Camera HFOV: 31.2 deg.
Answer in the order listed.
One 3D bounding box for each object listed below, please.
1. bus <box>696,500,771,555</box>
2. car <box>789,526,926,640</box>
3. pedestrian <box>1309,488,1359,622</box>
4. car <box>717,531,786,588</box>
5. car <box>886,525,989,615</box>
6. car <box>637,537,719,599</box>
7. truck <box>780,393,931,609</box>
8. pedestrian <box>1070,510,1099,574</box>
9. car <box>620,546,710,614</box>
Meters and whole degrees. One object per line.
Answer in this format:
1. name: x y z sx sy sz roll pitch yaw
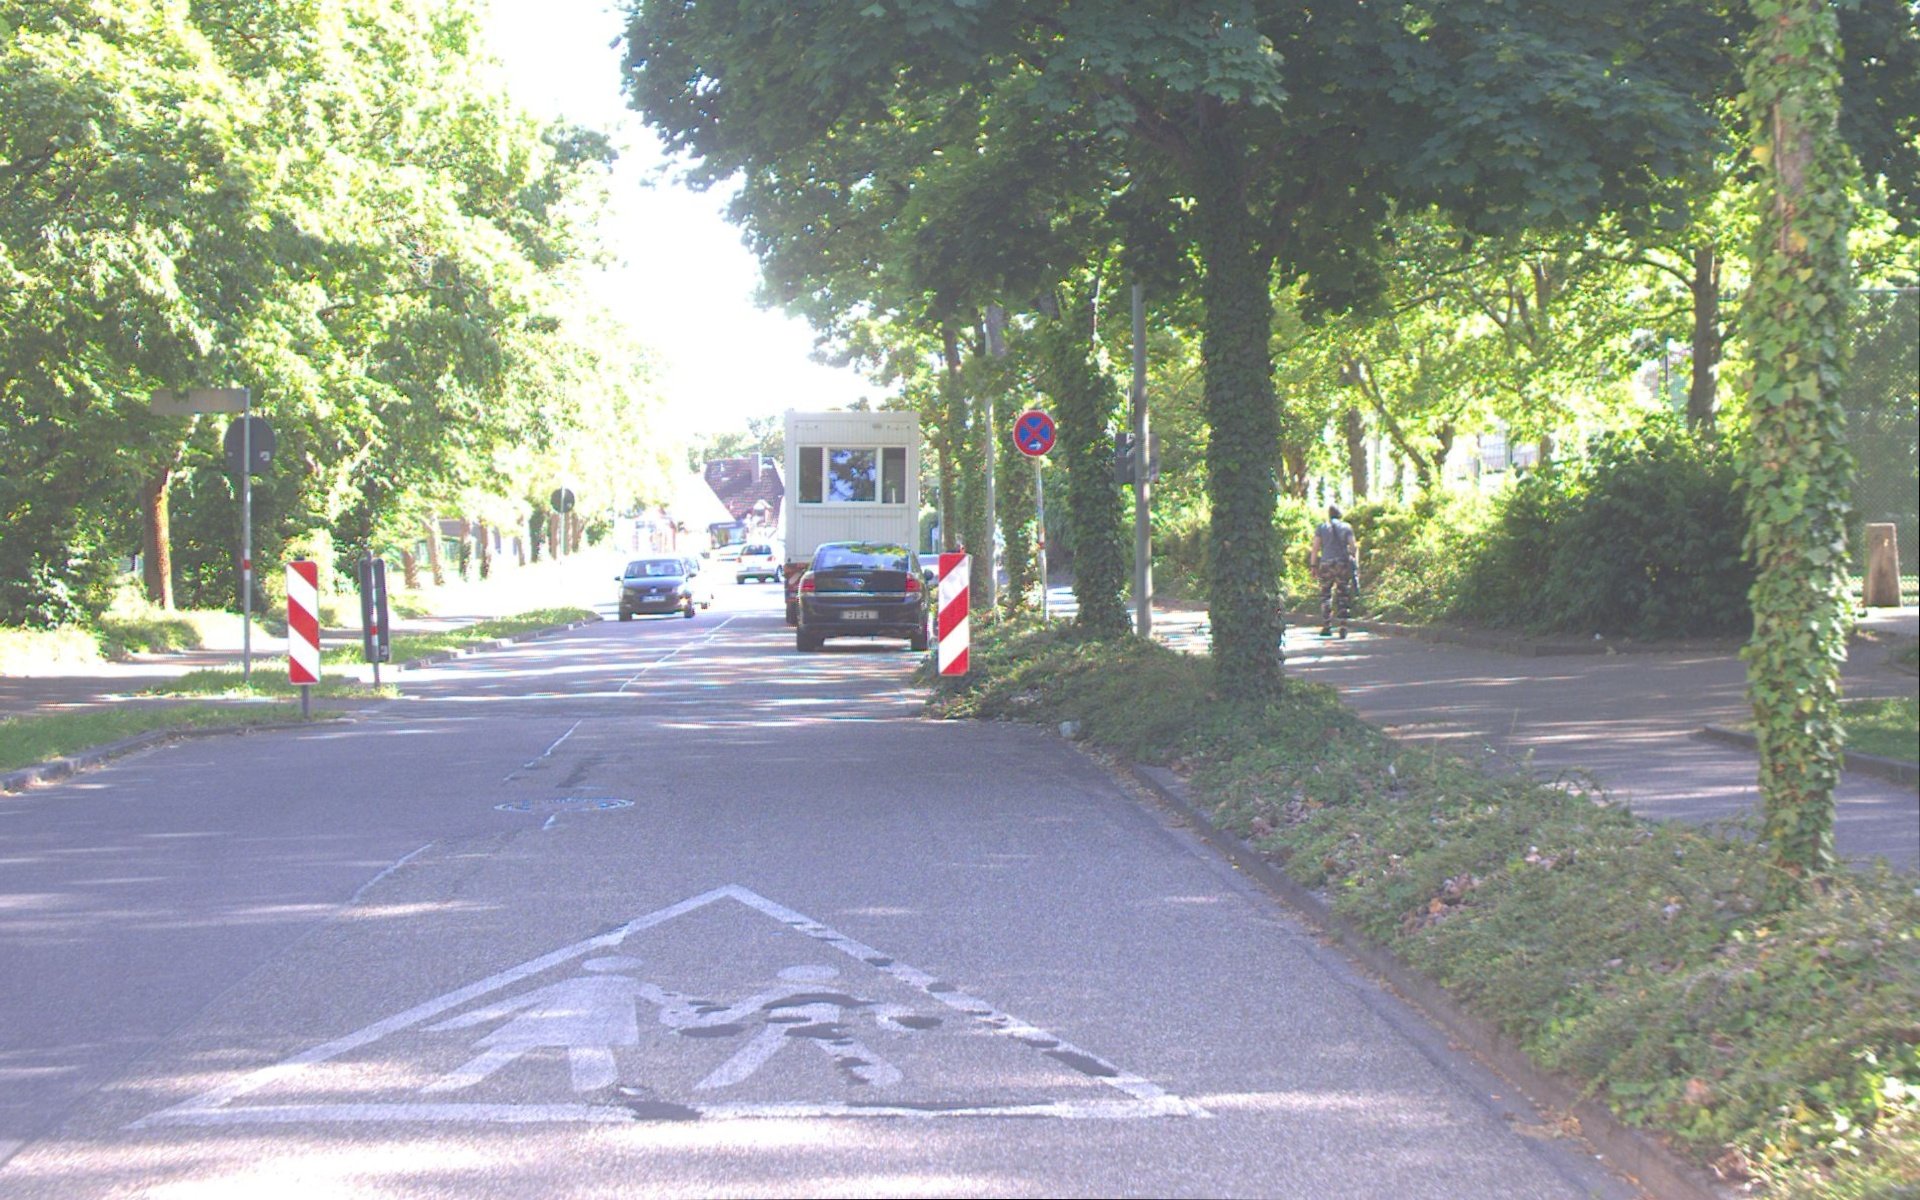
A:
1. bus: -14.655 -4.700 223.356 4.065 3.337 9.801 -2 1 0
2. car: -1.345 -0.238 46.558 1.748 1.475 4.030 0 0 0
3. pedestrian: 4.515 -0.545 41.493 0.571 1.602 0.671 -1 1 7
4. car: -7.716 -1.526 127.531 1.994 2.007 4.000 -1 1 4
5. car: -0.380 -0.545 59.110 1.640 1.415 4.000 -3 1 0
6. car: -7.196 -0.834 88.123 1.755 1.449 4.243 -2 1 -1
7. truck: -2.191 -1.926 68.687 2.772 3.982 10.350 0 1 -3
8. pedestrian: 3.177 -1.474 87.610 0.598 1.605 0.600 -2 1 -5
9. car: -6.726 -0.483 78.636 1.601 1.421 3.652 -2 1 1
